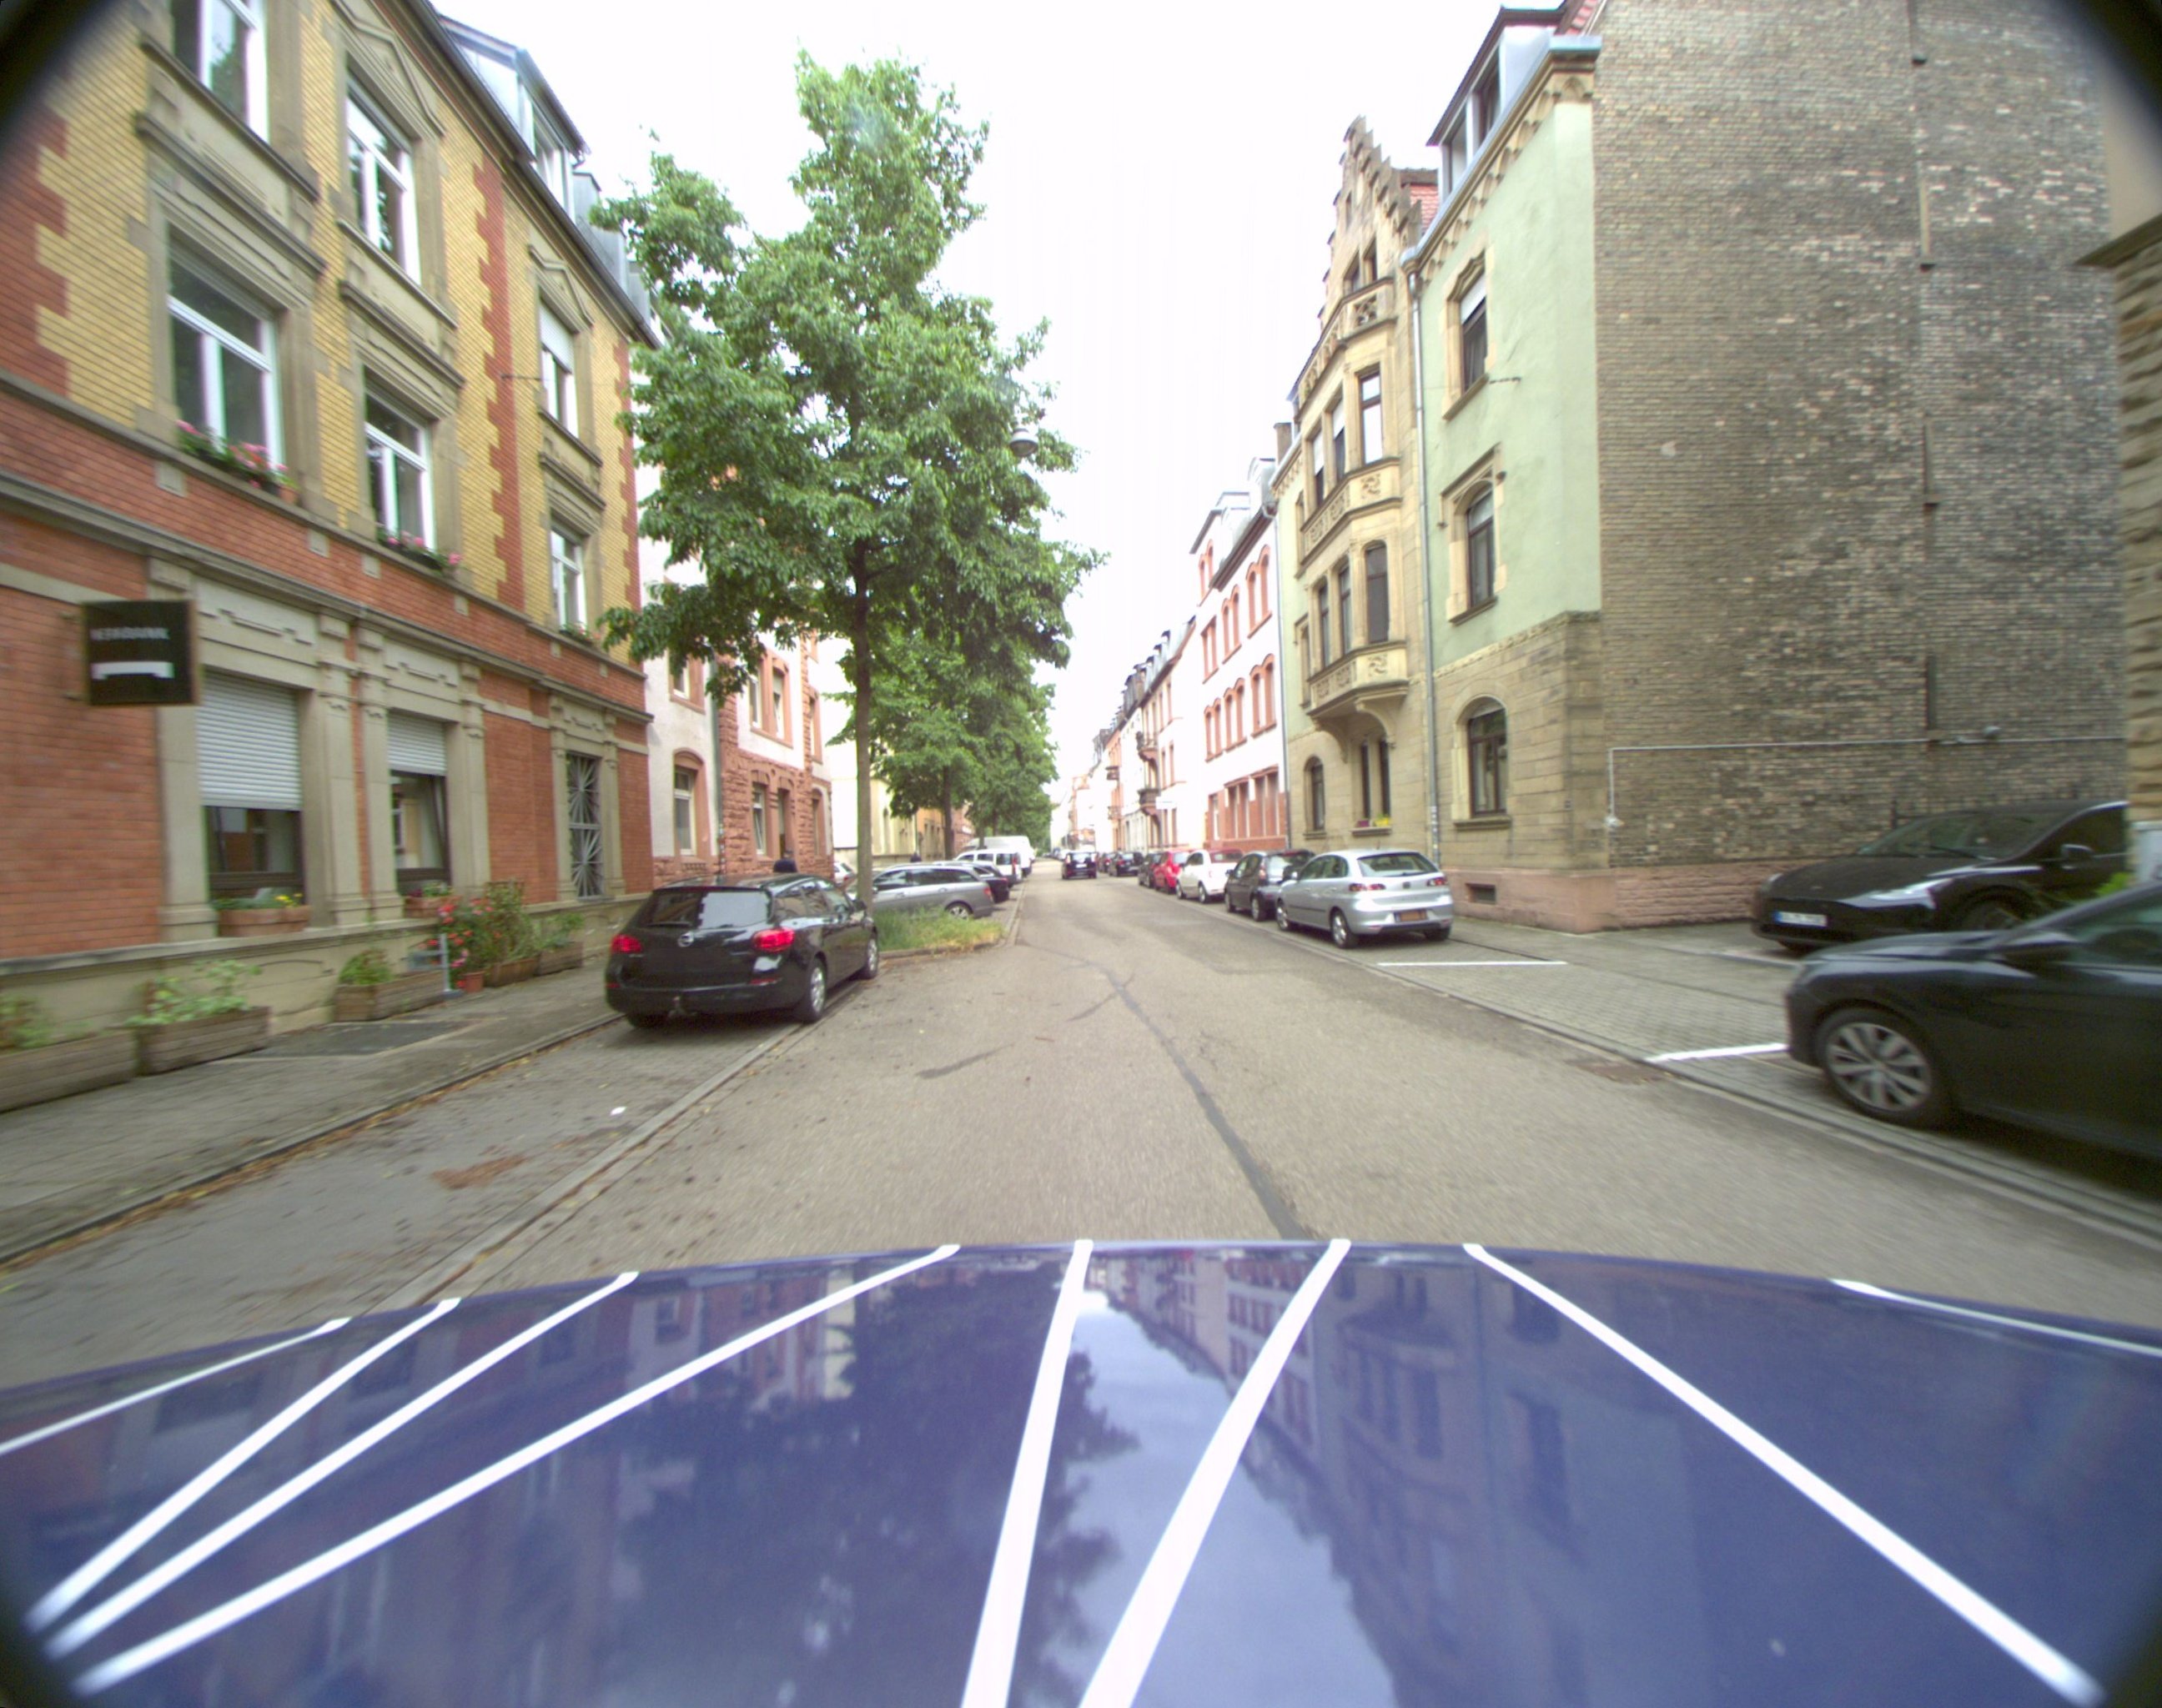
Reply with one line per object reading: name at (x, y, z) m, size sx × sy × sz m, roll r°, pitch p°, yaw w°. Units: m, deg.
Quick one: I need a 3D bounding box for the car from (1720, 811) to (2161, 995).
car at (9.286, 0.410, 7.819) m, size 3.998 × 1.555 × 1.767 m, roll -2°, pitch 1°, yaw -3°

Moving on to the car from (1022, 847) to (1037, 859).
car at (-7.817, -0.207, 116.129) m, size 1.999 × 1.740 × 3.999 m, roll -3°, pitch 1°, yaw -1°

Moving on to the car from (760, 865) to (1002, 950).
car at (-4.002, 0.984, 15.562) m, size 4.453 × 1.419 × 1.754 m, roll 0°, pitch 1°, yaw -37°

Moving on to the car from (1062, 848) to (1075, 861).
car at (-2.171, 0.015, 131.149) m, size 2.053 × 2.071 × 3.810 m, roll -4°, pitch 0°, yaw -2°

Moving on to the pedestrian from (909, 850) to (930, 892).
pedestrian at (-7.274, 0.751, 34.158) m, size 0.703 × 1.801 × 0.816 m, roll -3°, pitch 1°, yaw -2°

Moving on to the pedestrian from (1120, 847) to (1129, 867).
pedestrian at (3.470, 0.243, 60.112) m, size 0.578 × 1.600 × 0.544 m, roll -3°, pitch 1°, yaw -3°

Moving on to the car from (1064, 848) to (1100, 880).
car at (0.015, 0.499, 42.885) m, size 1.814 × 1.621 × 4.206 m, roll -3°, pitch 1°, yaw -2°

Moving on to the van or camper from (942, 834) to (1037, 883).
van or camper at (-5.336, 0.233, 44.675) m, size 5.077 × 2.576 × 2.069 m, roll -3°, pitch 1°, yaw -33°

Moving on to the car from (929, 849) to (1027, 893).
car at (-4.596, 0.746, 34.281) m, size 3.995 × 1.801 × 1.721 m, roll -2°, pitch 1°, yaw 6°

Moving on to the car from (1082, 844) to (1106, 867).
car at (1.120, 0.120, 66.388) m, size 1.844 × 1.849 × 3.999 m, roll -2°, pitch 1°, yaw -2°

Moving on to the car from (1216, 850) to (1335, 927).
car at (4.159, 0.686, 16.759) m, size 1.521 × 1.426 × 3.454 m, roll -4°, pitch 0°, yaw -3°

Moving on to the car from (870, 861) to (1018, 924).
car at (-3.850, 1.024, 21.512) m, size 3.700 × 1.458 × 1.701 m, roll -3°, pitch 1°, yaw -34°

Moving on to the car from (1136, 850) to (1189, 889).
car at (3.229, 0.582, 30.774) m, size 1.469 × 1.408 × 3.917 m, roll -4°, pitch 0°, yaw -3°

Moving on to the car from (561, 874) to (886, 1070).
car at (-3.570, 1.047, 8.636) m, size 1.769 × 1.477 × 4.477 m, roll -1°, pitch 0°, yaw -3°

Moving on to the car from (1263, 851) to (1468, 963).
car at (4.388, 0.732, 12.383) m, size 1.594 × 1.426 × 3.808 m, roll -4°, pitch 0°, yaw -4°

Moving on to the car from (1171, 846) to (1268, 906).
car at (3.890, 0.577, 21.874) m, size 1.671 × 1.502 × 3.551 m, roll -3°, pitch 1°, yaw -8°

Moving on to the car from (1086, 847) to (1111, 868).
car at (1.307, 0.256, 57.780) m, size 1.611 × 1.463 × 3.341 m, roll -2°, pitch 1°, yaw -4°

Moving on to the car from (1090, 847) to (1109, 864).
car at (1.752, 0.140, 71.609) m, size 1.457 × 1.401 × 3.810 m, roll -4°, pitch 0°, yaw -2°

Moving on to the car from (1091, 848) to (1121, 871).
car at (1.656, 0.342, 51.370) m, size 1.660 × 1.375 × 3.470 m, roll -4°, pitch 1°, yaw -3°

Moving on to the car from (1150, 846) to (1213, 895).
car at (3.438, 0.543, 26.570) m, size 1.469 × 1.521 × 3.567 m, roll -4°, pitch 0°, yaw -3°

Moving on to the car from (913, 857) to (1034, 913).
car at (-3.530, 0.960, 24.971) m, size 3.472 × 1.554 × 1.783 m, roll -3°, pitch 1°, yaw -26°

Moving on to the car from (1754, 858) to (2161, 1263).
car at (4.964, 0.799, 2.619) m, size 1.732 × 1.426 × 3.881 m, roll -4°, pitch 0°, yaw -1°

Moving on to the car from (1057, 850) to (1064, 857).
car at (-4.593, -0.141, 169.532) m, size 1.457 × 1.401 × 3.810 m, roll -4°, pitch 0°, yaw -2°

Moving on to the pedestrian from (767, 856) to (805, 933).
pedestrian at (-6.784, 0.917, 17.491) m, size 0.599 × 1.723 × 0.663 m, roll -2°, pitch 1°, yaw -5°

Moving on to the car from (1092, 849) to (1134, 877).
car at (1.761, 0.465, 42.829) m, size 1.905 × 1.382 × 3.998 m, roll -3°, pitch 0°, yaw -3°

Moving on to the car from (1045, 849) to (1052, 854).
car at (-9.968, -0.817, 234.918) m, size 1.458 × 1.401 × 3.806 m, roll -2°, pitch 1°, yaw -12°

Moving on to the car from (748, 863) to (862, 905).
car at (-11.164, 1.208, 30.950) m, size 3.998 × 1.445 × 1.609 m, roll -2°, pitch 1°, yaw -4°
